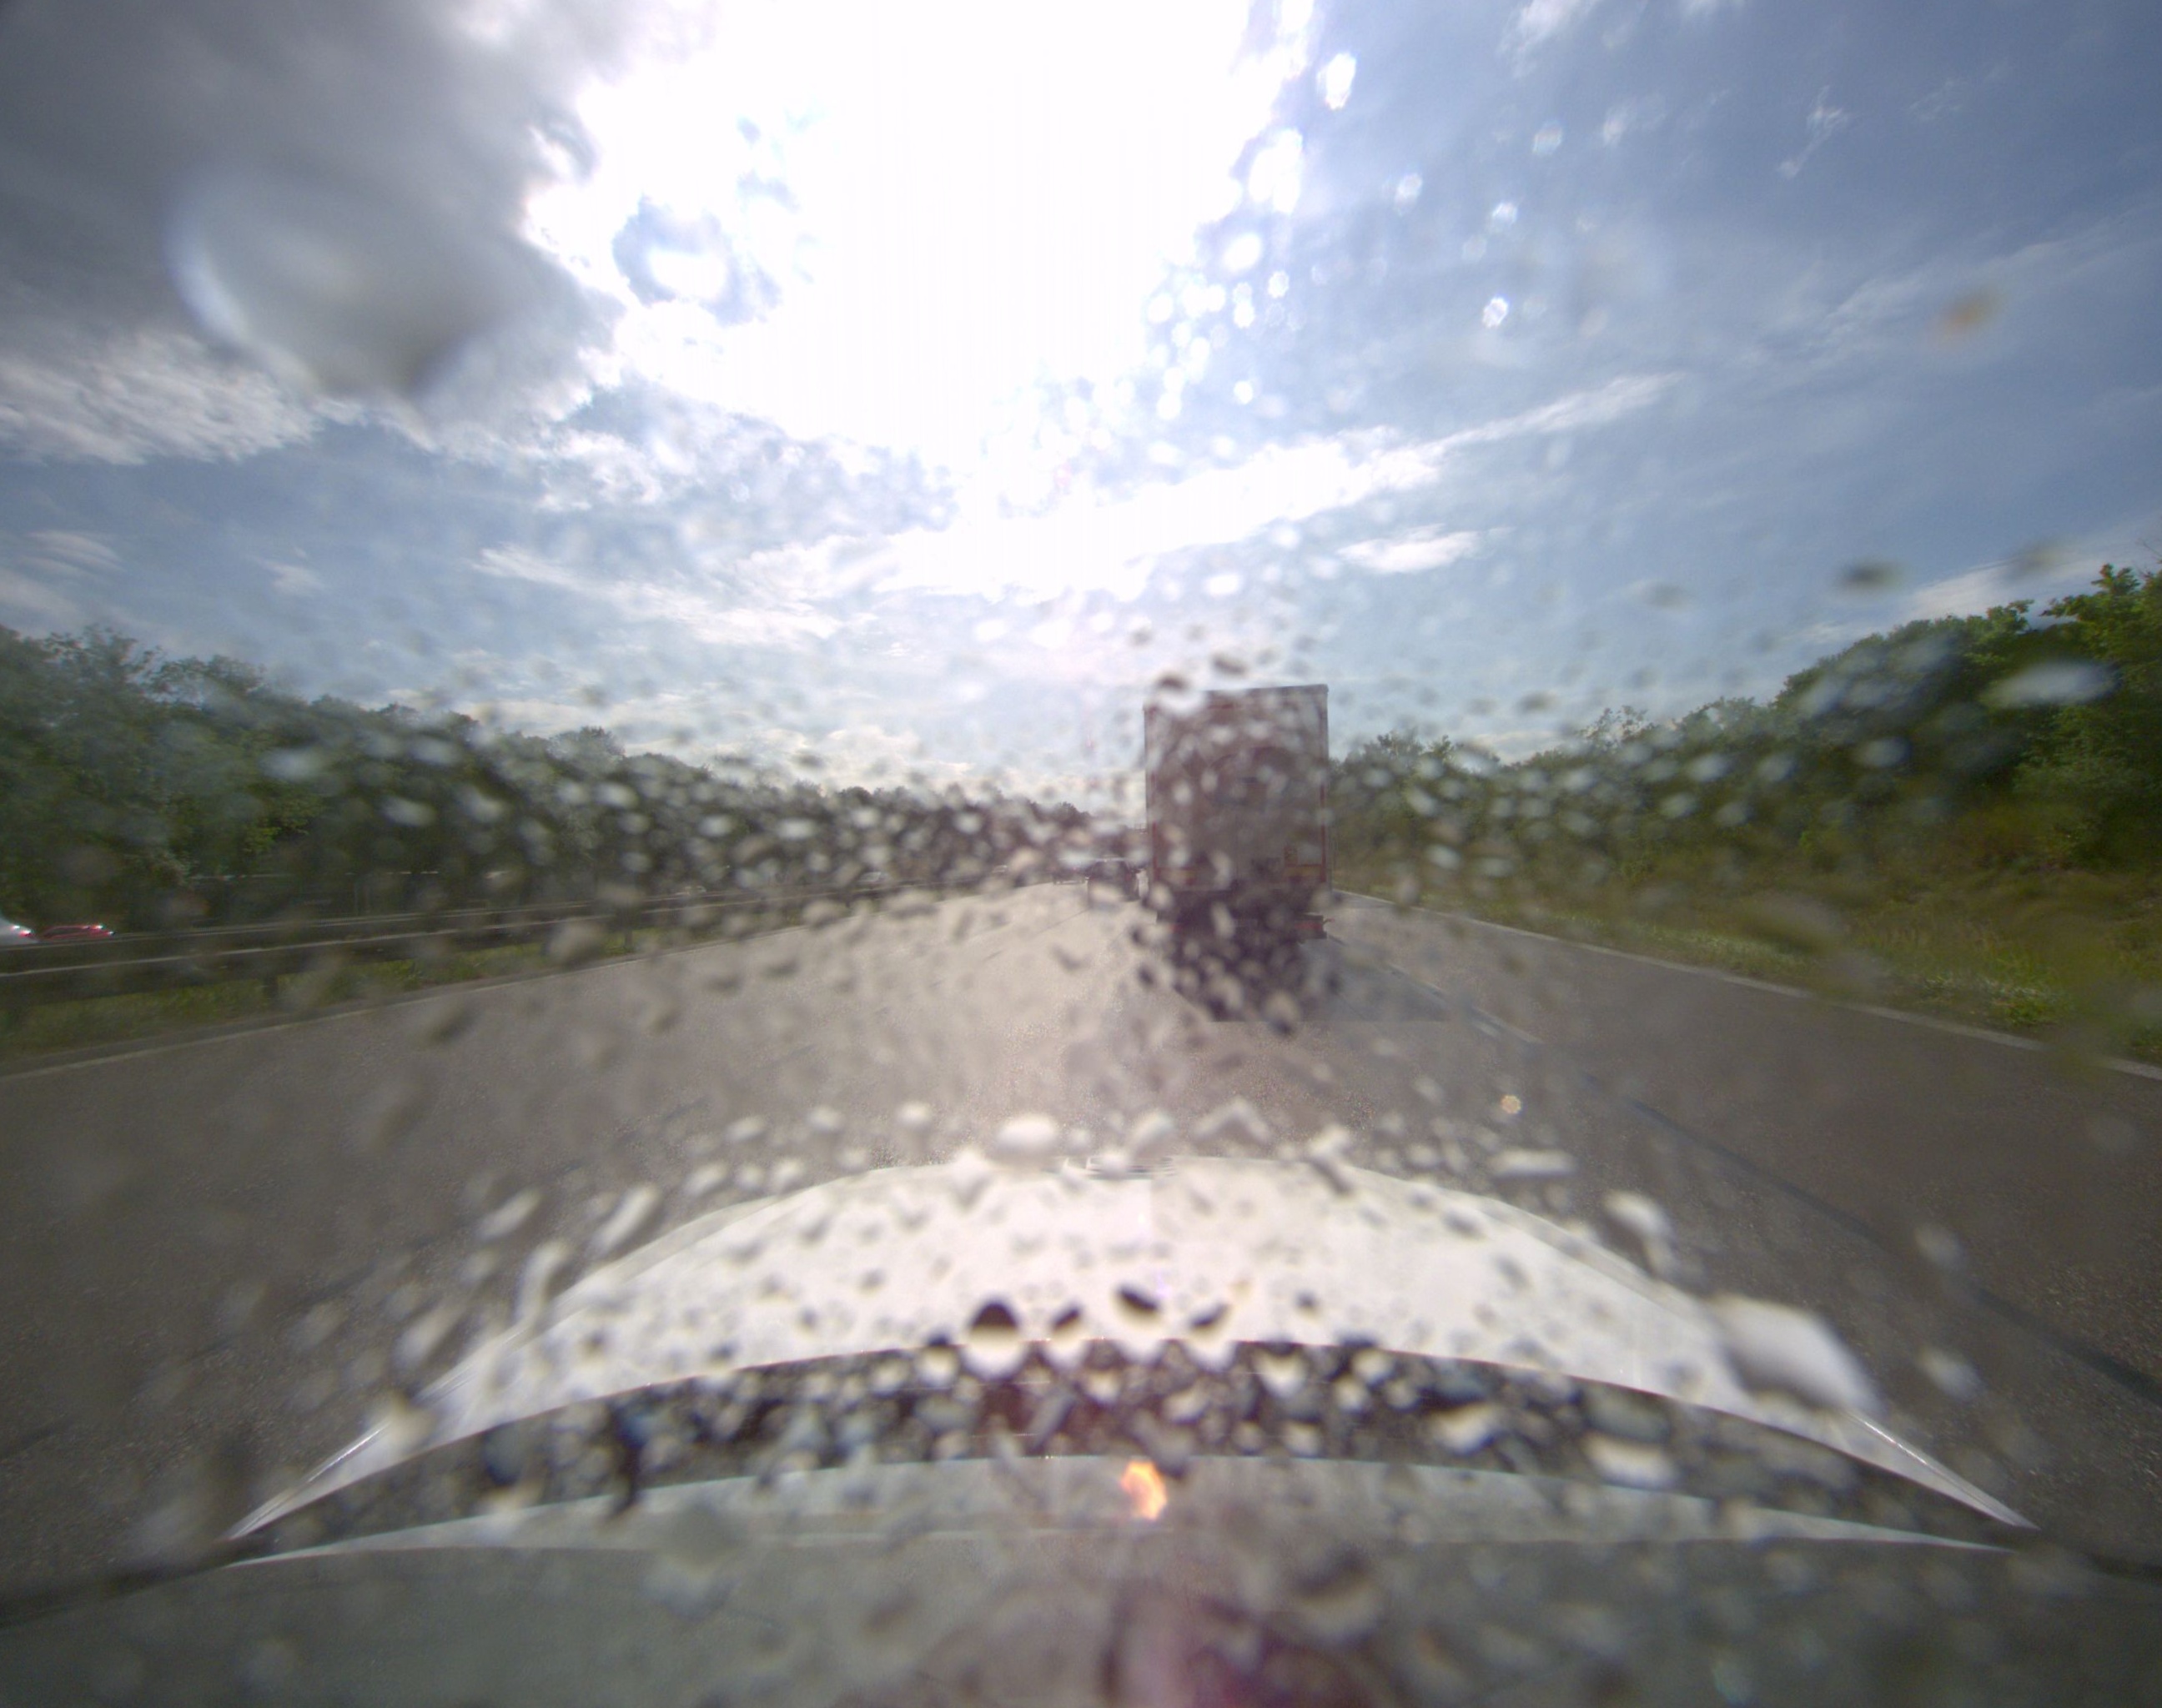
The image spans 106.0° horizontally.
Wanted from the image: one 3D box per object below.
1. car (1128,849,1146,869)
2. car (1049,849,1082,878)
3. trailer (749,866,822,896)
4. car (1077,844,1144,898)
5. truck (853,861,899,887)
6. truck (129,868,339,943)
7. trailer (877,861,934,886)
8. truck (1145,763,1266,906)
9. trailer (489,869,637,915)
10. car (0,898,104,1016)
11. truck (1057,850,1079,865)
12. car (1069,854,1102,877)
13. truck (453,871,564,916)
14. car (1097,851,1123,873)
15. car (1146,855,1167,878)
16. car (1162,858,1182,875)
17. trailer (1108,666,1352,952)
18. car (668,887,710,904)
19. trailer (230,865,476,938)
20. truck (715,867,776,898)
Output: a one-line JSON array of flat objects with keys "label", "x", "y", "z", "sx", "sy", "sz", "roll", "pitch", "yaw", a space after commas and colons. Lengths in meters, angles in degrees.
[{"label": "car", "x": 7.529, "y": 0.646, "z": 109.746, "sx": 1.982, "sy": 2.615, "sz": 5.271, "roll": -1, "pitch": -1, "yaw": 8}, {"label": "car", "x": -0.982, "y": 0.613, "z": 53.605, "sx": 1.684, "sy": 1.805, "sz": 3.982, "roll": -1, "pitch": -1, "yaw": 6}, {"label": "trailer", "x": -39.922, "y": 3.559, "z": 110.555, "sx": 3.761, "sy": 3.649, "sz": 10.540, "roll": -3, "pitch": -1, "yaw": 15}, {"label": "car", "x": 1.263, "y": 0.660, "z": 32.327, "sx": 2.262, "sy": 1.954, "sz": 4.830, "roll": -1, "pitch": -1, "yaw": 6}, {"label": "truck", "x": -32.991, "y": 3.235, "z": 131.595, "sx": 3.755, "sy": 4.117, "sz": 7.082, "roll": -1, "pitch": -1, "yaw": 21}, {"label": "truck", "x": -52.624, "y": 3.068, "z": 51.107, "sx": 3.766, "sy": 4.234, "sz": 8.436, "roll": -1, "pitch": -1, "yaw": 8}, {"label": "trailer", "x": -29.907, "y": 3.308, "z": 139.492, "sx": 3.755, "sy": 4.117, "sz": 11.786, "roll": -1, "pitch": -1, "yaw": 21}, {"label": "truck", "x": 3.810, "y": -0.501, "z": 25.671, "sx": 3.267, "sy": 3.891, "sz": 6.408, "roll": -1, "pitch": 0, "yaw": 7}, {"label": "trailer", "x": -48.205, "y": 3.395, "z": 76.748, "sx": 3.767, "sy": 3.649, "sz": 13.377, "roll": -3, "pitch": -1, "yaw": 9}, {"label": "car", "x": -18.785, "y": 1.717, "z": 12.371, "sx": 1.820, "sy": 1.891, "sz": 4.789, "roll": -1, "pitch": -1, "yaw": 7}, {"label": "truck", "x": -2.381, "y": 0.757, "z": 152.005, "sx": 2.826, "sy": 2.682, "sz": 7.207, "roll": -1, "pitch": -1, "yaw": 8}, {"label": "car", "x": 0.410, "y": 0.921, "z": 63.765, "sx": 1.898, "sy": 1.636, "sz": 4.627, "roll": -2, "pitch": -1, "yaw": 8}, {"label": "truck", "x": -49.196, "y": 3.328, "z": 70.309, "sx": 3.766, "sy": 3.590, "sz": 7.371, "roll": -1, "pitch": -1, "yaw": 8}, {"label": "car", "x": 2.868, "y": 0.777, "z": 80.234, "sx": 1.967, "sy": 2.054, "sz": 4.767, "roll": -1, "pitch": -1, "yaw": 8}, {"label": "car", "x": 6.334, "y": 1.029, "z": 68.361, "sx": 1.684, "sy": 1.805, "sz": 3.982, "roll": -1, "pitch": -1, "yaw": 6}, {"label": "car", "x": 8.851, "y": 1.213, "z": 79.677, "sx": 1.855, "sy": 1.516, "sz": 3.982, "roll": -1, "pitch": -1, "yaw": 6}, {"label": "trailer", "x": 2.899, "y": -0.561, "z": 18.289, "sx": 3.266, "sy": 3.899, "sz": 14.155, "roll": -1, "pitch": 0, "yaw": 7}, {"label": "car", "x": -44.456, "y": 4.725, "z": 92.461, "sx": 2.046, "sy": 1.718, "sz": 4.380, "roll": -1, "pitch": -1, "yaw": 10}, {"label": "trailer", "x": -51.534, "y": 3.098, "z": 58.742, "sx": 3.767, "sy": 4.406, "sz": 13.834, "roll": -3, "pitch": -1, "yaw": 9}, {"label": "truck", "x": -42.017, "y": 3.513, "z": 102.271, "sx": 3.761, "sy": 3.660, "sz": 6.729, "roll": -1, "pitch": -1, "yaw": 13}]
